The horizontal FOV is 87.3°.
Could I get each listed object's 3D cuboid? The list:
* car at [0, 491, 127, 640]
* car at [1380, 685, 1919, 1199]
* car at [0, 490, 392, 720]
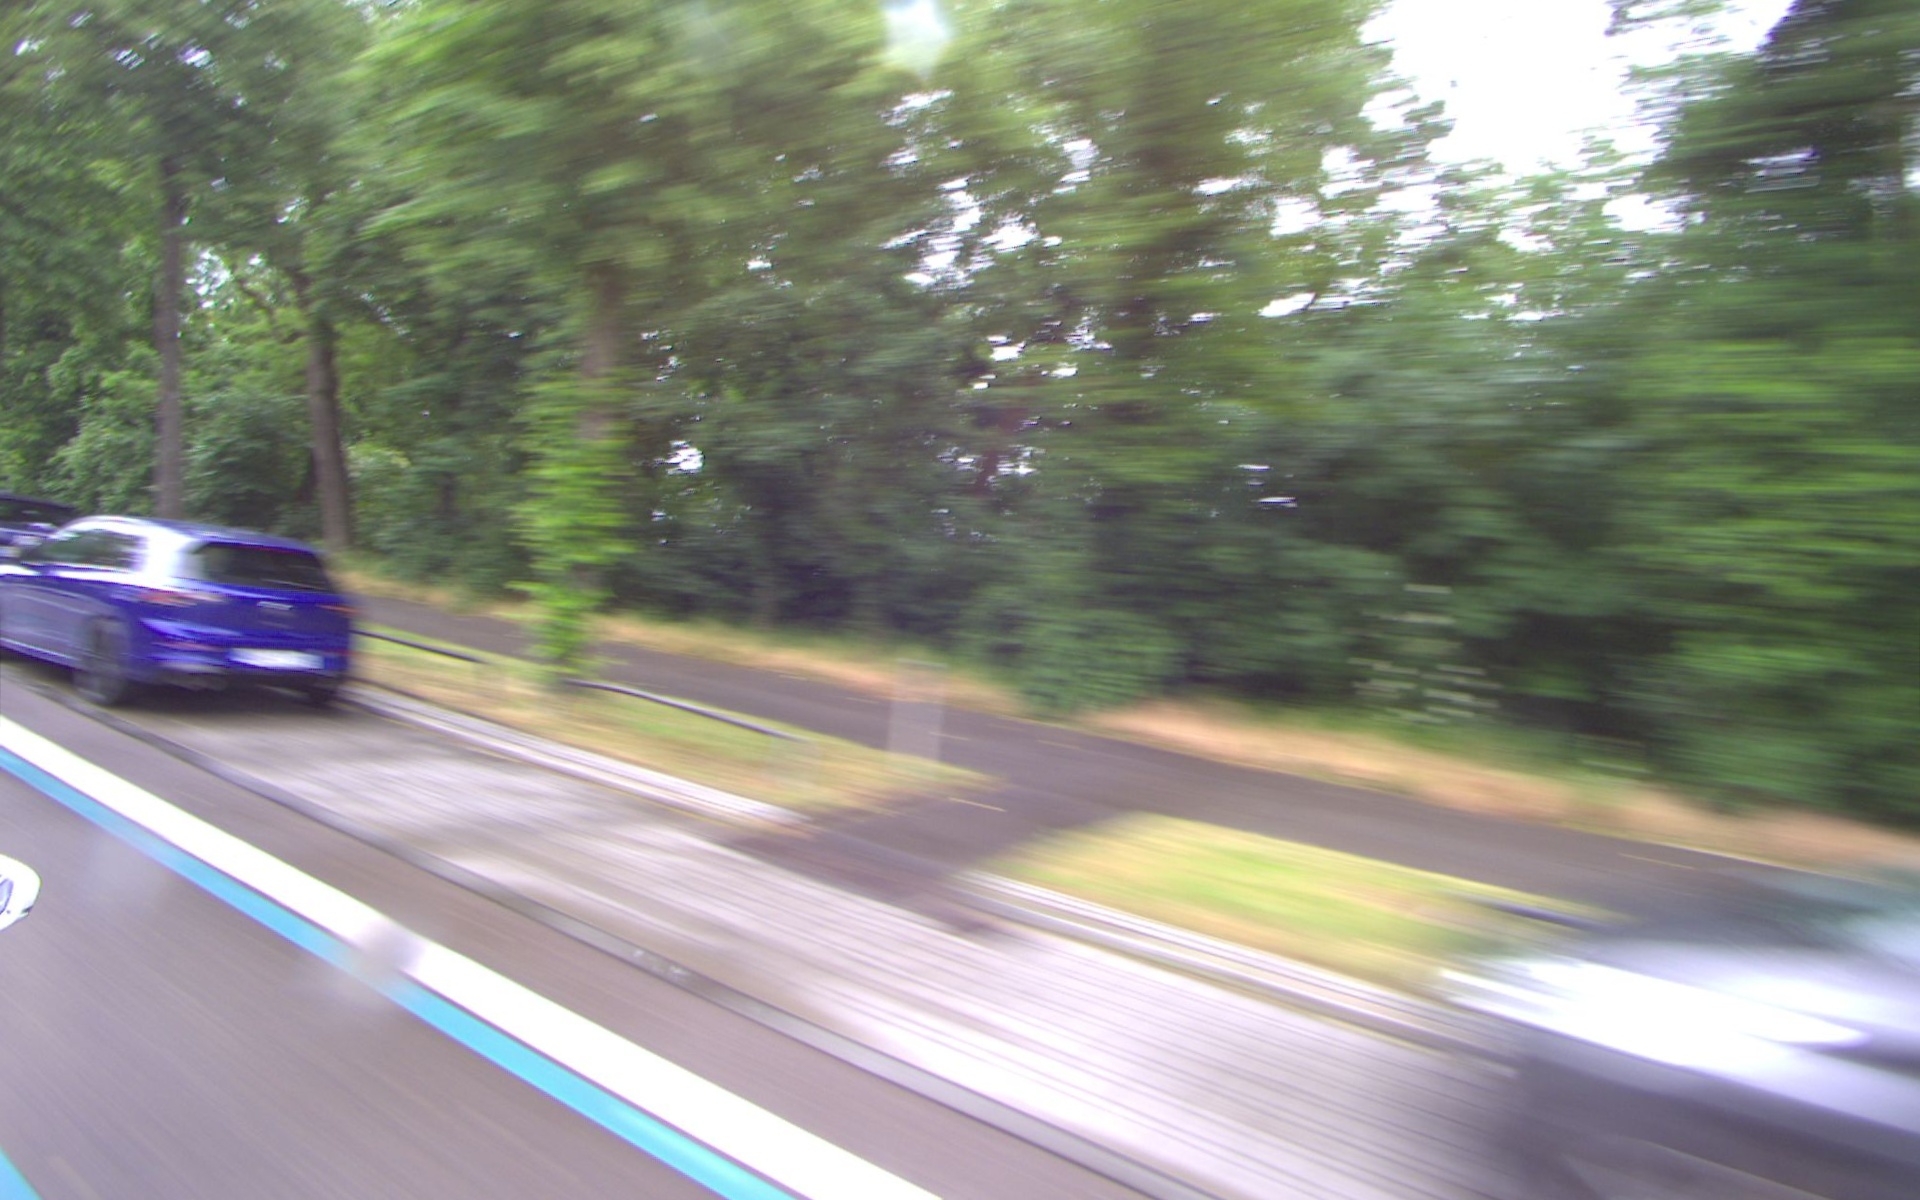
[{"bbox_3d":[-11.748,-0.567,11.823,3.909,1.531,1.716,7,-1,31],"label":"car"},{"bbox_3d":[3.217,1.231,2.207,3.935,1.487,1.618,7,-2,33],"label":"car"},{"bbox_3d":[-7.172,-0.025,9.005,4.247,1.499,1.685,7,-1,32],"label":"car"}]
